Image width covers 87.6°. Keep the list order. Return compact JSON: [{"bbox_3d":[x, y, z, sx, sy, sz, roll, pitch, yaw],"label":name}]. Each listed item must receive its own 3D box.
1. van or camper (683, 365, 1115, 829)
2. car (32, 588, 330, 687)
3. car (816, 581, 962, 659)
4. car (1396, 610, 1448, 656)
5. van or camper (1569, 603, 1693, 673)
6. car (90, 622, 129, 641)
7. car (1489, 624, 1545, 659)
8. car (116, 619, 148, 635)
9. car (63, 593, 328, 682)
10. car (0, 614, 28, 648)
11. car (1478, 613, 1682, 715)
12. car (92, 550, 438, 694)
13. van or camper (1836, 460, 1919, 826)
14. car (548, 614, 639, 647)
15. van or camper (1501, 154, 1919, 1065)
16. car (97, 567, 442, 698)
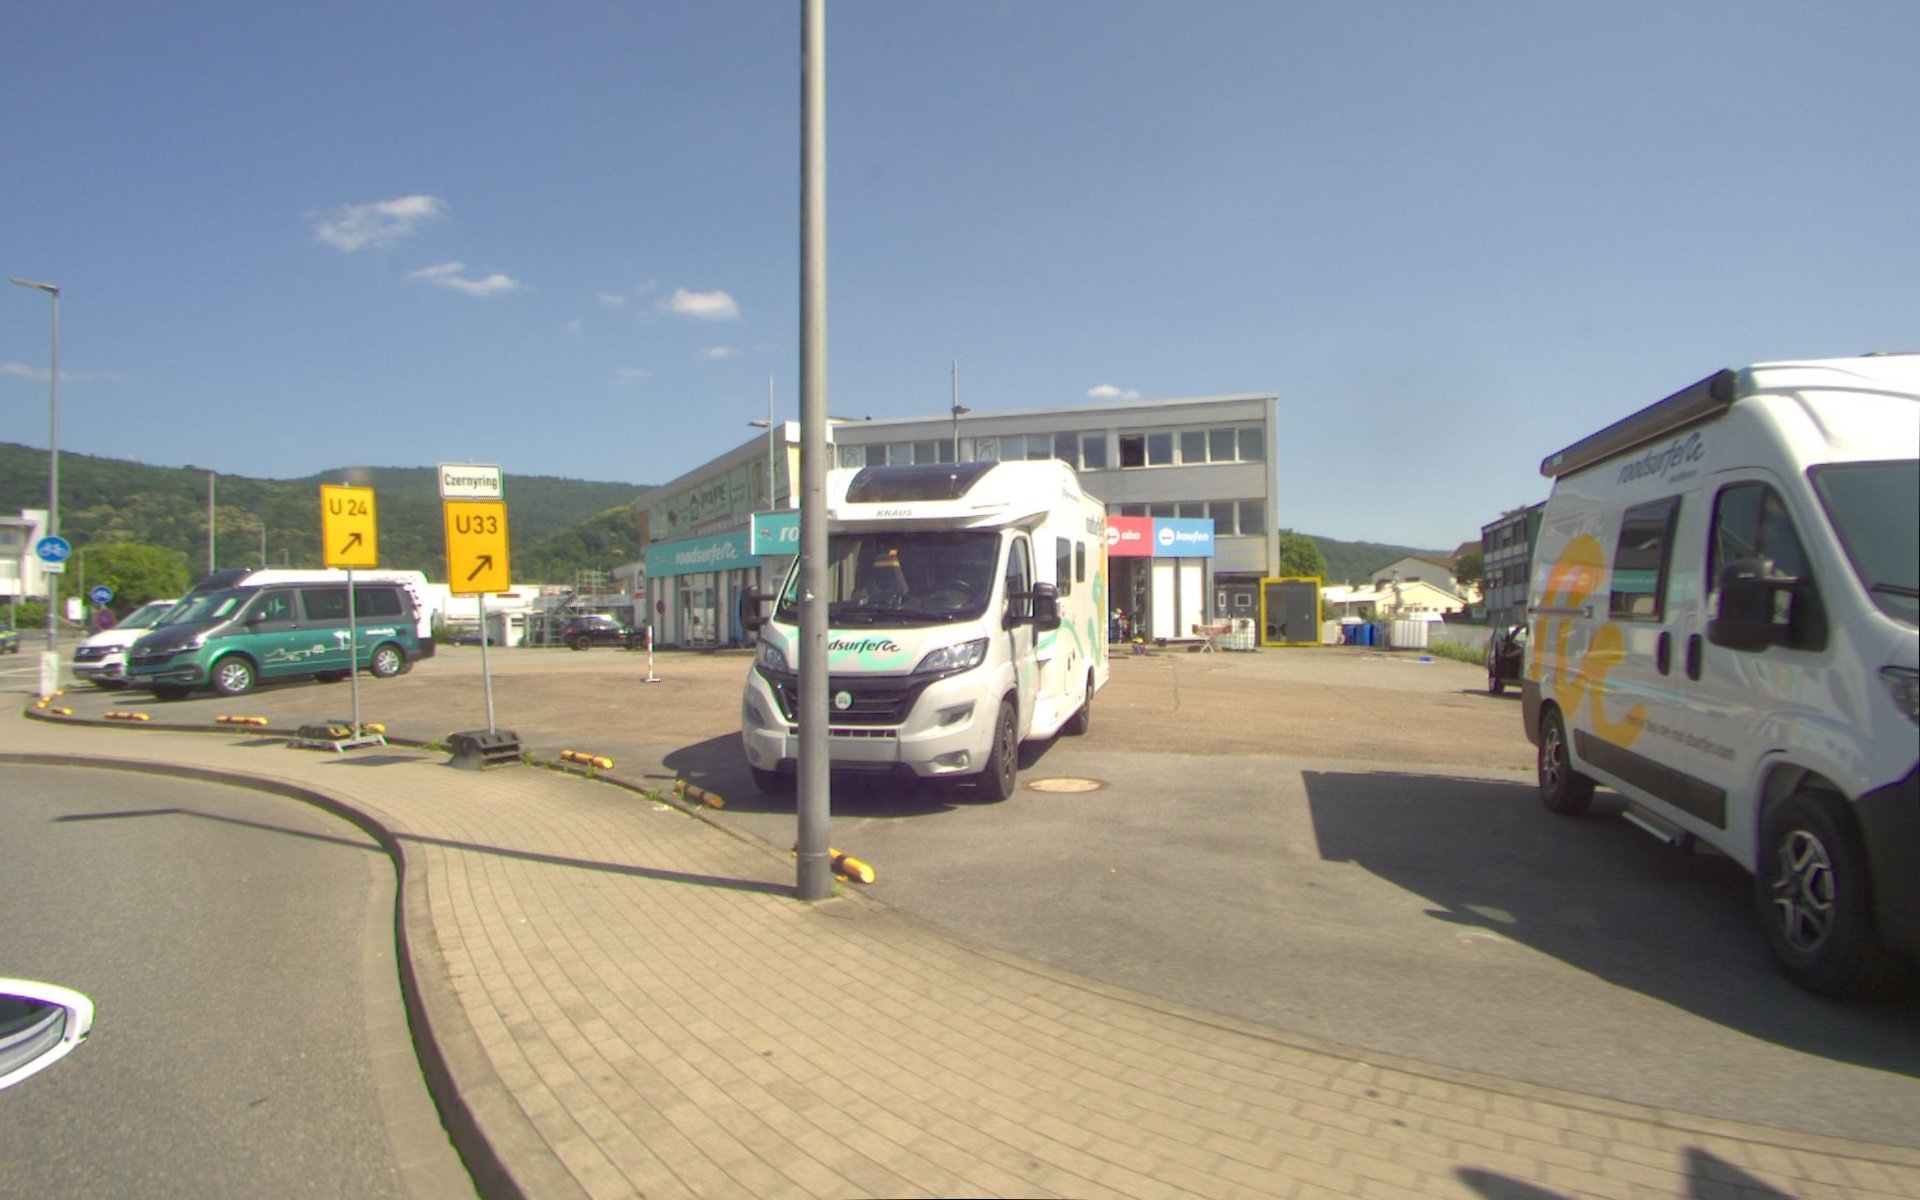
[{"bbox_3d":[0.058,0.000,10.159,2.292,2.985,7.076,-1,0,14],"label":"van or camper"},{"bbox_3d":[-17.784,0.832,23.235,1.992,2.026,5.144,-1,-1,24],"label":"car"},{"bbox_3d":[-1.775,0.550,27.173,2.061,1.901,5.092,-1,-1,20],"label":"car"},{"bbox_3d":[26.628,1.912,57.907,2.073,2.558,5.599,0,-2,18],"label":"car"},{"bbox_3d":[28.170,1.577,42.369,2.303,2.713,6.738,0,-2,15],"label":"van or camper"},{"bbox_3d":[-68.777,2.538,80.993,1.822,1.483,3.977,1,-1,-32],"label":"car"},{"bbox_3d":[21.355,1.563,38.465,1.202,1.265,2.935,0,-1,15],"label":"car"},{"bbox_3d":[-79.486,2.577,96.164,1.822,1.483,3.976,1,-1,-33],"label":"car"},{"bbox_3d":[-19.514,0.900,25.860,1.901,2.040,5.129,0,-1,28],"label":"car"},{"bbox_3d":[-52.219,1.676,54.147,1.889,1.783,4.424,1,-1,-33],"label":"car"},{"bbox_3d":[10.934,1.067,17.997,1.782,1.535,3.895,3,-1,11],"label":"car"},{"bbox_3d":[-15.128,0.478,22.391,2.267,2.752,6.142,0,-1,22],"label":"car"},{"bbox_3d":[7.916,0.287,5.948,2.011,2.850,5.518,2,-1,18],"label":"van or camper"},{"bbox_3d":[-18.006,1.482,49.248,3.944,1.538,1.881,1,-1,-31],"label":"car"},{"bbox_3d":[4.700,0.078,5.306,2.053,2.810,5.822,1,-1,17],"label":"van or camper"},{"bbox_3d":[-12.865,0.596,19.170,2.061,2.141,5.217,0,-1,20],"label":"car"}]
